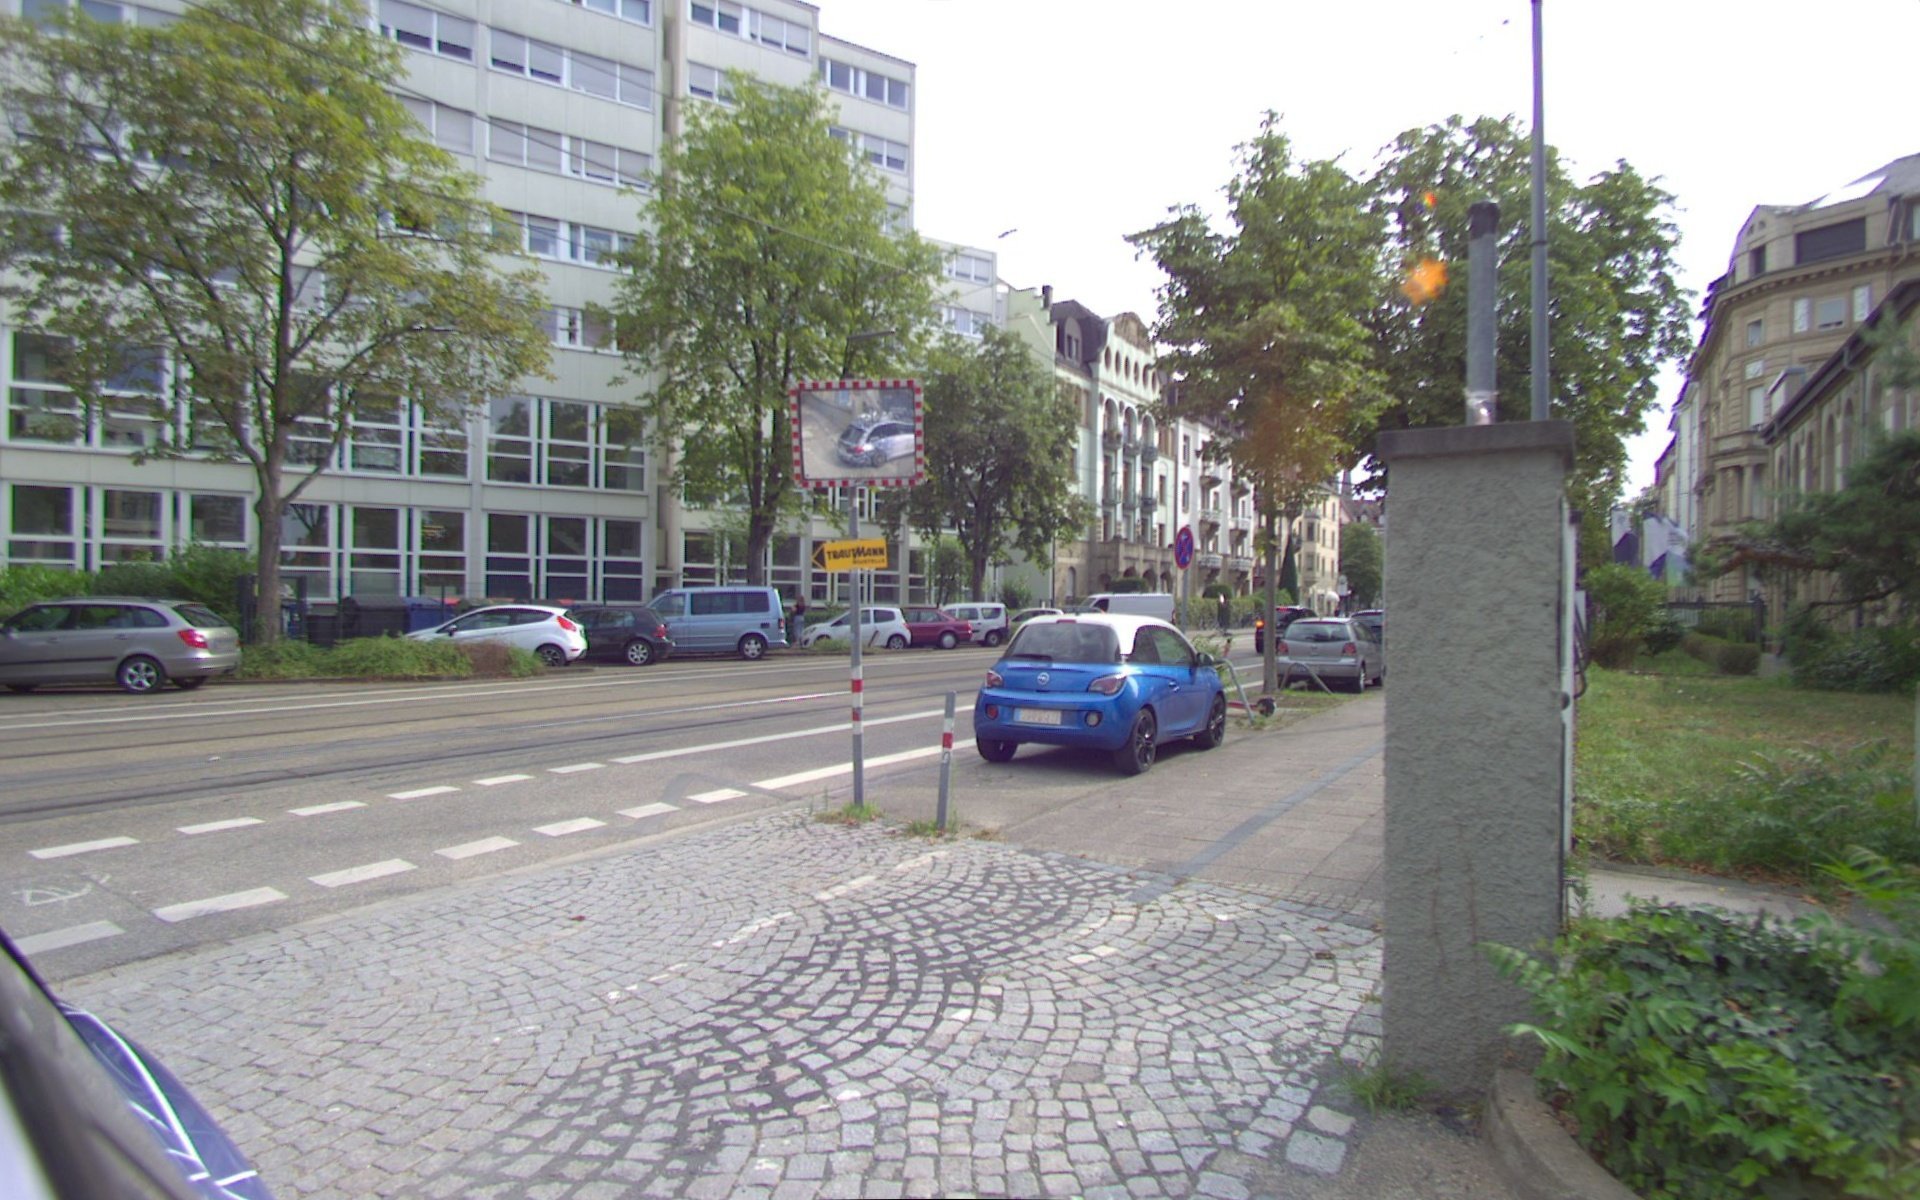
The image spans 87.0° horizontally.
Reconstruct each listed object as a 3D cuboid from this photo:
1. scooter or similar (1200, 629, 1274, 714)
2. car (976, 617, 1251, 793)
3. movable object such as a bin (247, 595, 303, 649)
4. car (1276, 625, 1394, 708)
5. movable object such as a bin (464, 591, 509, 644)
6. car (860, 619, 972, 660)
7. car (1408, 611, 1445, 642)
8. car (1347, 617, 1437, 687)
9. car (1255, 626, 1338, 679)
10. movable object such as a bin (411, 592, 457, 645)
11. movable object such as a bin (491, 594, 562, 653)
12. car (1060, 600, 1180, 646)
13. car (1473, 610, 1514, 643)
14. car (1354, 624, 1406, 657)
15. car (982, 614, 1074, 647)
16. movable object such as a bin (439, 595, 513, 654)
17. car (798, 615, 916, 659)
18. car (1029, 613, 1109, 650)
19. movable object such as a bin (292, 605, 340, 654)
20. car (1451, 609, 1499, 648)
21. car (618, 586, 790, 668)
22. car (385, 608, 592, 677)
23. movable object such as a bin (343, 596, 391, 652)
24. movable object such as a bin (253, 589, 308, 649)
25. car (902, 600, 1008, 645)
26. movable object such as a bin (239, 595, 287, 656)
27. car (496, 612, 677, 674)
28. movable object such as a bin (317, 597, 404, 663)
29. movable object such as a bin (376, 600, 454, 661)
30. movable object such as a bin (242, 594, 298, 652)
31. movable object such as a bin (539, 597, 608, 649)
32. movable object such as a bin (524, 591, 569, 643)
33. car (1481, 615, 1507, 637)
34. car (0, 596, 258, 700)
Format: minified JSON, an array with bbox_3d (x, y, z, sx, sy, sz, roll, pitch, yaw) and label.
[{"bbox_3d":[3.943,1.008,14.460,0.363,1.176,1.007,1,-3,-34],"label":"scooter or similar"},{"bbox_3d":[1.761,0.931,10.644,1.628,1.476,3.564,0,-1,31],"label":"car"},{"bbox_3d":[-17.984,0.565,26.572,1.160,1.380,1.177,1,-1,-37],"label":"movable object such as a bin"},{"bbox_3d":[7.681,1.270,20.562,1.628,1.476,3.536,0,-1,31],"label":"car"},{"bbox_3d":[-14.459,0.527,30.886,1.155,1.580,1.183,1,-1,-30],"label":"movable object such as a bin"},{"bbox_3d":[-1.577,1.353,35.330,3.709,1.349,1.818,0,0,-9],"label":"car"},{"bbox_3d":[29.564,1.664,64.118,1.731,1.898,4.333,0,-1,30],"label":"car"},{"bbox_3d":[11.231,1.272,26.173,1.654,1.646,3.686,0,-1,31],"label":"car"},{"bbox_3d":[11.966,1.810,35.860,1.733,1.641,4.329,2,0,33],"label":"car"},{"bbox_3d":[-15.647,0.539,30.087,1.155,1.525,1.183,1,-1,-30],"label":"movable object such as a bin"},{"bbox_3d":[-12.194,0.644,28.486,1.333,1.608,1.337,0,-1,36],"label":"movable object such as a bin"},{"bbox_3d":[7.779,1.099,49.505,5.351,2.192,2.153,0,0,-9],"label":"car"},{"bbox_3d":[27.704,1.343,52.488,1.654,1.613,3.864,0,-1,31],"label":"car"},{"bbox_3d":[21.142,1.982,50.872,1.732,1.508,4.330,1,0,32],"label":"car"},{"bbox_3d":[2.902,1.310,43.589,3.584,1.340,1.772,0,0,-13],"label":"car"},{"bbox_3d":[-13.049,0.643,27.301,1.333,1.514,1.337,0,-1,36],"label":"movable object such as a bin"},{"bbox_3d":[-3.363,1.168,32.782,3.584,1.340,1.772,0,0,-13],"label":"car"},{"bbox_3d":[5.033,1.421,46.788,3.600,1.601,1.764,1,0,6],"label":"car"},{"bbox_3d":[-15.017,0.687,23.599,0.785,1.113,0.733,0,-1,38],"label":"movable object such as a bin"},{"bbox_3d":[23.028,1.240,45.188,1.654,1.646,3.864,0,-1,31],"label":"car"},{"bbox_3d":[-6.828,0.720,27.190,4.273,2.079,2.005,1,-1,-14],"label":"car"},{"bbox_3d":[-10.029,0.892,21.803,3.797,1.403,1.638,1,-1,-14],"label":"car"},{"bbox_3d":[-17.199,0.682,29.367,1.155,1.580,1.183,1,-1,-30],"label":"movable object such as a bin"},{"bbox_3d":[-18.655,0.515,27.777,1.160,1.580,1.177,1,-1,-37],"label":"movable object such as a bin"},{"bbox_3d":[-0.231,0.817,37.834,3.709,1.630,1.818,0,0,-9],"label":"car"},{"bbox_3d":[-16.694,0.602,24.223,0.897,1.417,1.026,1,-1,-37],"label":"movable object such as a bin"},{"bbox_3d":[-8.910,1.021,24.451,3.906,1.398,1.819,0,-2,-13],"label":"car"},{"bbox_3d":[-14.656,0.714,24.759,1.328,1.541,1.398,0,-1,36],"label":"movable object such as a bin"},{"bbox_3d":[-14.027,0.761,26.050,1.333,1.515,1.321,0,-1,36],"label":"movable object such as a bin"},{"bbox_3d":[-17.319,0.564,25.406,1.100,1.402,1.066,1,-1,-37],"label":"movable object such as a bin"},{"bbox_3d":[-11.366,0.658,29.776,1.333,1.469,1.383,0,-1,36],"label":"movable object such as a bin"},{"bbox_3d":[-12.963,0.529,31.699,1.155,1.580,1.183,1,-1,-30],"label":"movable object such as a bin"},{"bbox_3d":[47.800,2.316,90.530,1.795,1.837,4.628,0,-1,31],"label":"car"},{"bbox_3d":[-13.808,0.728,16.127,3.985,1.549,1.600,0,0,-14],"label":"car"}]
